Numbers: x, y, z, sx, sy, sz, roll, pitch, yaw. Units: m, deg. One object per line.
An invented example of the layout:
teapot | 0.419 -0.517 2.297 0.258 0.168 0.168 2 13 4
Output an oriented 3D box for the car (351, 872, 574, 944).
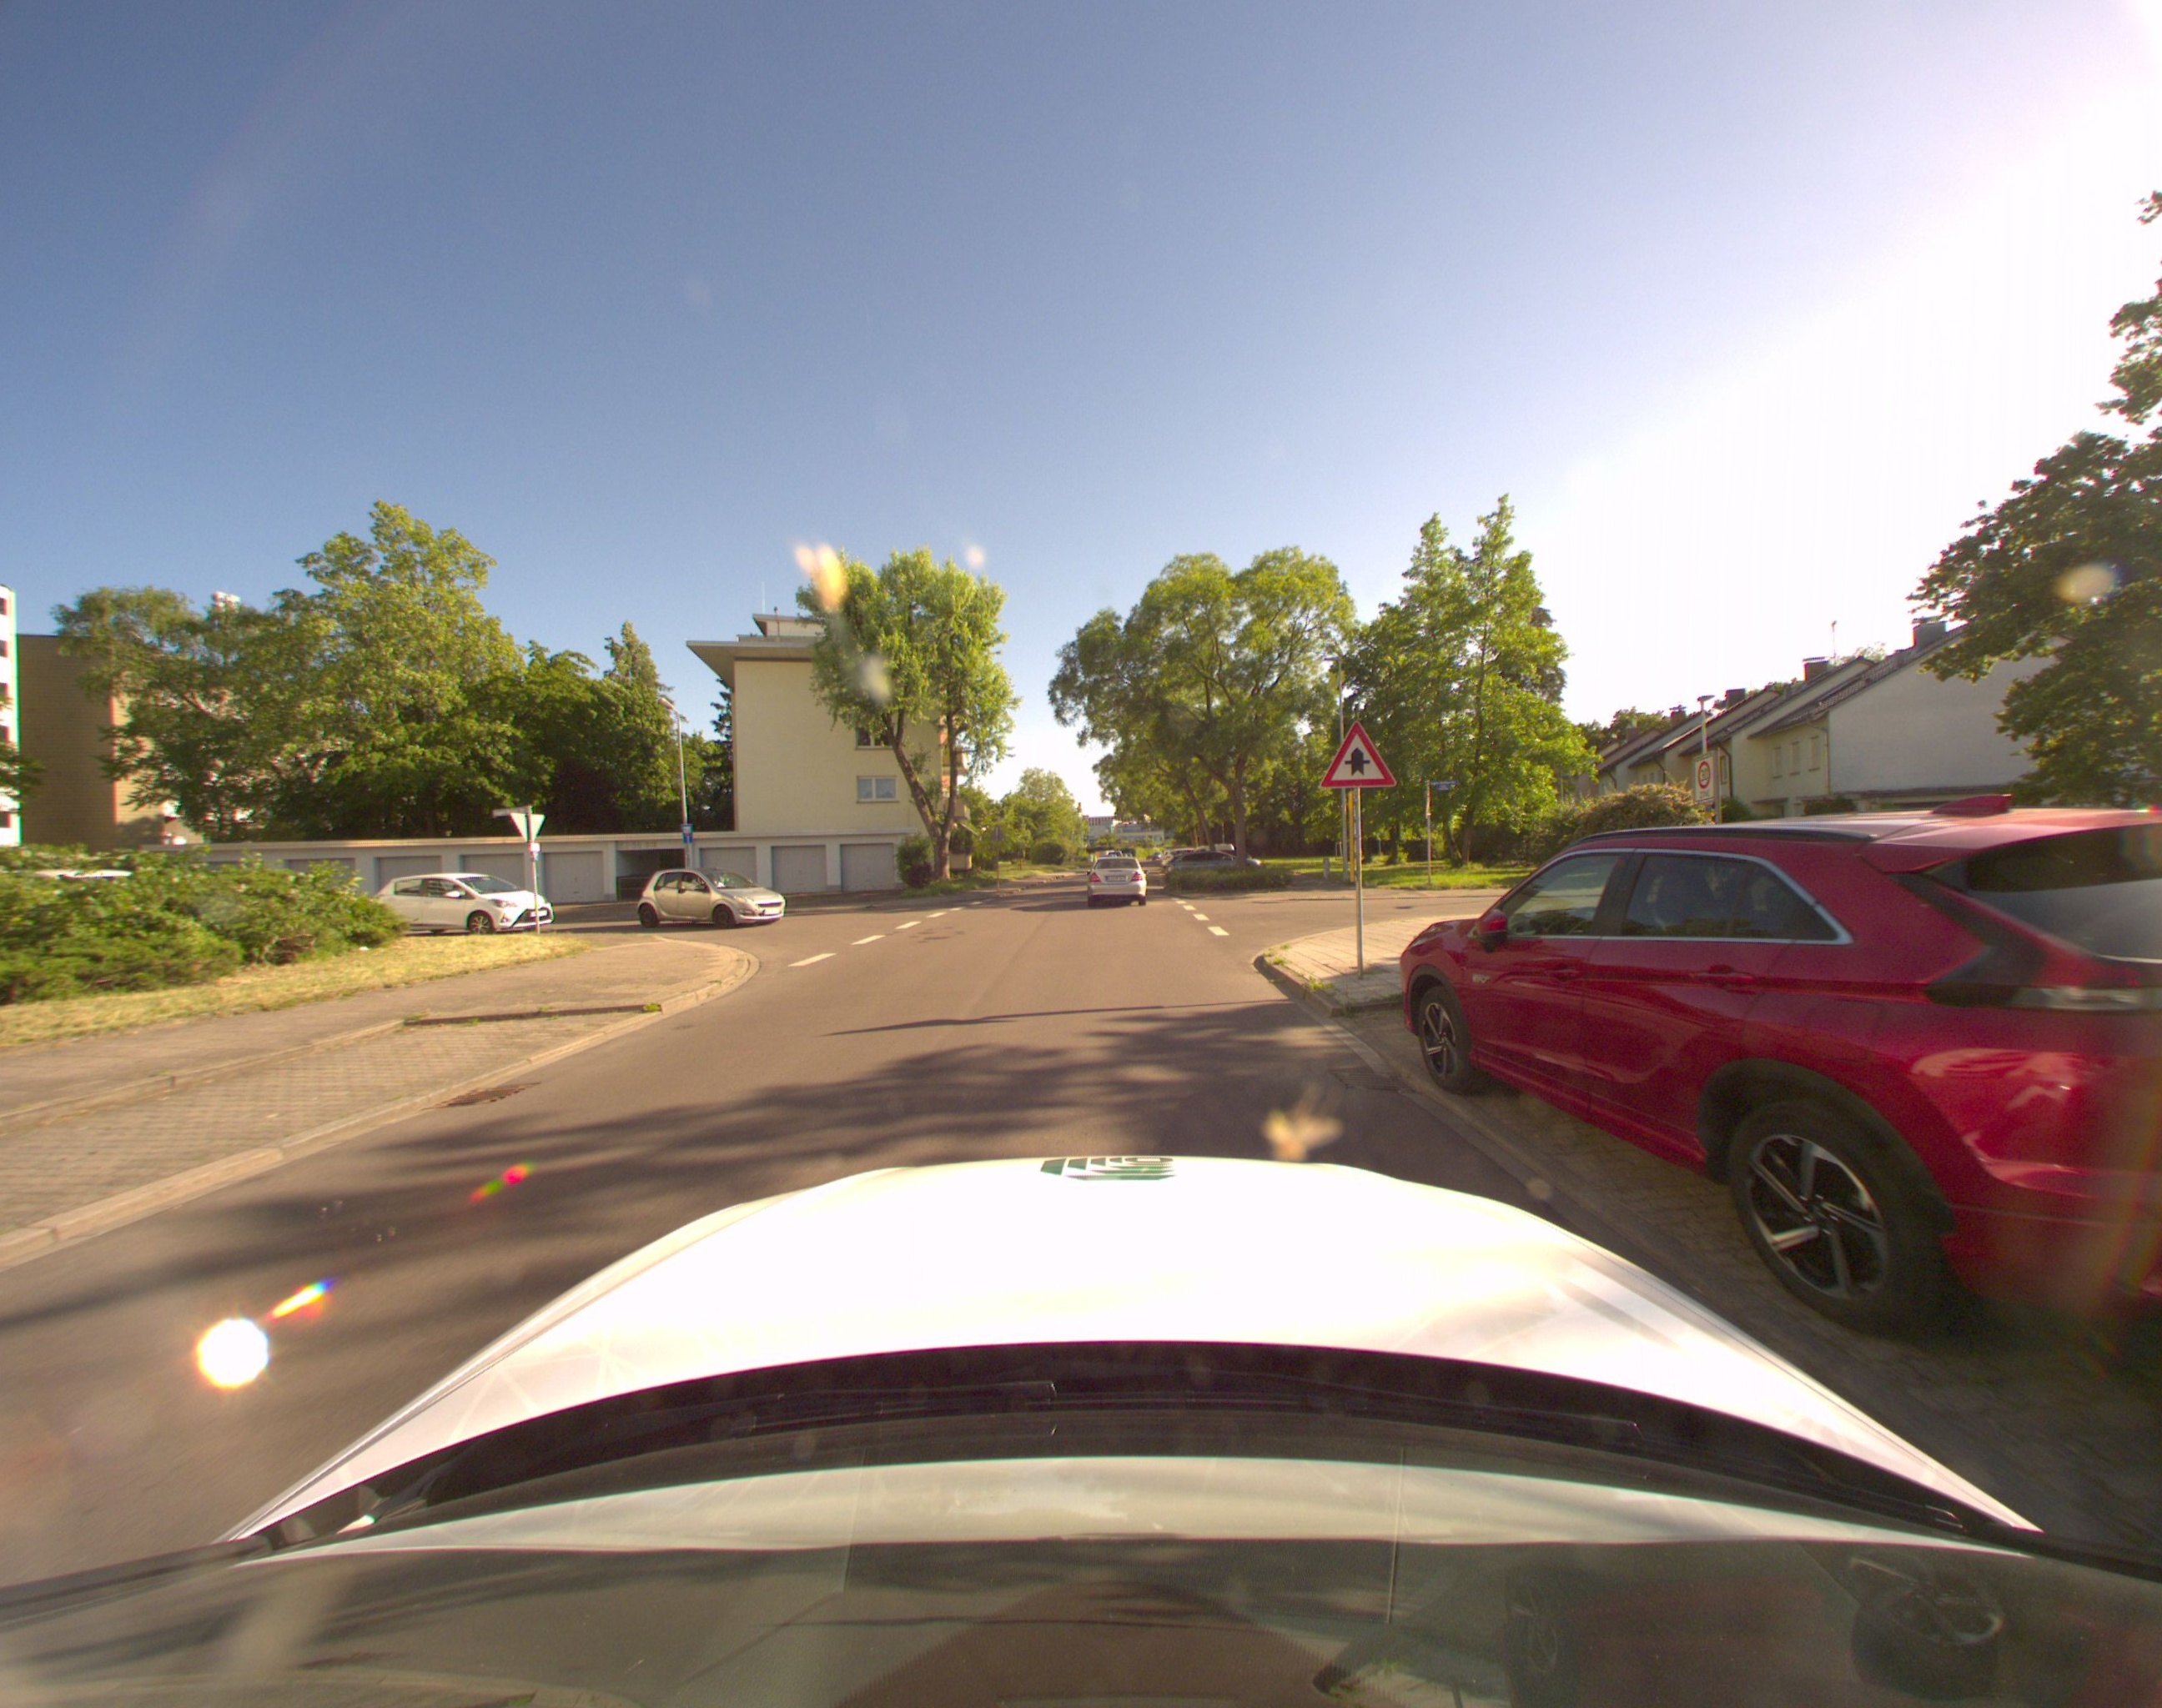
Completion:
car | -14.984 1.283 19.880 3.965 1.464 2.047 -3 0 7

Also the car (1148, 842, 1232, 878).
car | 6.728 0.363 50.571 4.872 1.924 1.998 -3 0 -2

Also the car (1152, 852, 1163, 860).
car | 15.675 0.366 166.956 1.881 1.503 3.668 -2 0 11

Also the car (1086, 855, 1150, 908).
car | 1.059 0.775 24.173 1.727 1.434 3.438 -2 -1 1

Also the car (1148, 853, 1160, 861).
car | 14.264 0.629 158.761 1.881 1.503 3.668 -2 0 11

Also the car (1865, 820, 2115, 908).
car | 18.148 0.172 16.425 2.933 1.563 1.708 -2 3 13

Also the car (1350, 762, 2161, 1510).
car | 3.140 0.572 4.200 1.770 1.680 4.642 -5 0 -1

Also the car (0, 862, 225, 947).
car | -25.454 1.270 20.866 5.077 1.951 2.242 -2 0 7

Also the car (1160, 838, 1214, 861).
car | 10.517 -0.485 81.143 5.189 2.059 2.004 -2 0 7

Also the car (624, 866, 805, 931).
car | -9.205 1.074 20.495 3.893 1.461 2.009 -1 0 23

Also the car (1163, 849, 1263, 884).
car | 6.604 0.619 41.136 4.763 1.549 2.013 -2 0 2

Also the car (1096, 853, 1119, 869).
car | 2.752 0.723 84.066 1.902 1.490 3.846 -5 0 8

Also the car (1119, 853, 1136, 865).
car | 6.250 0.663 109.098 1.740 1.520 4.204 -3 0 9

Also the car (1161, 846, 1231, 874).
car | 8.237 0.399 58.625 4.860 1.723 2.003 -3 0 5
